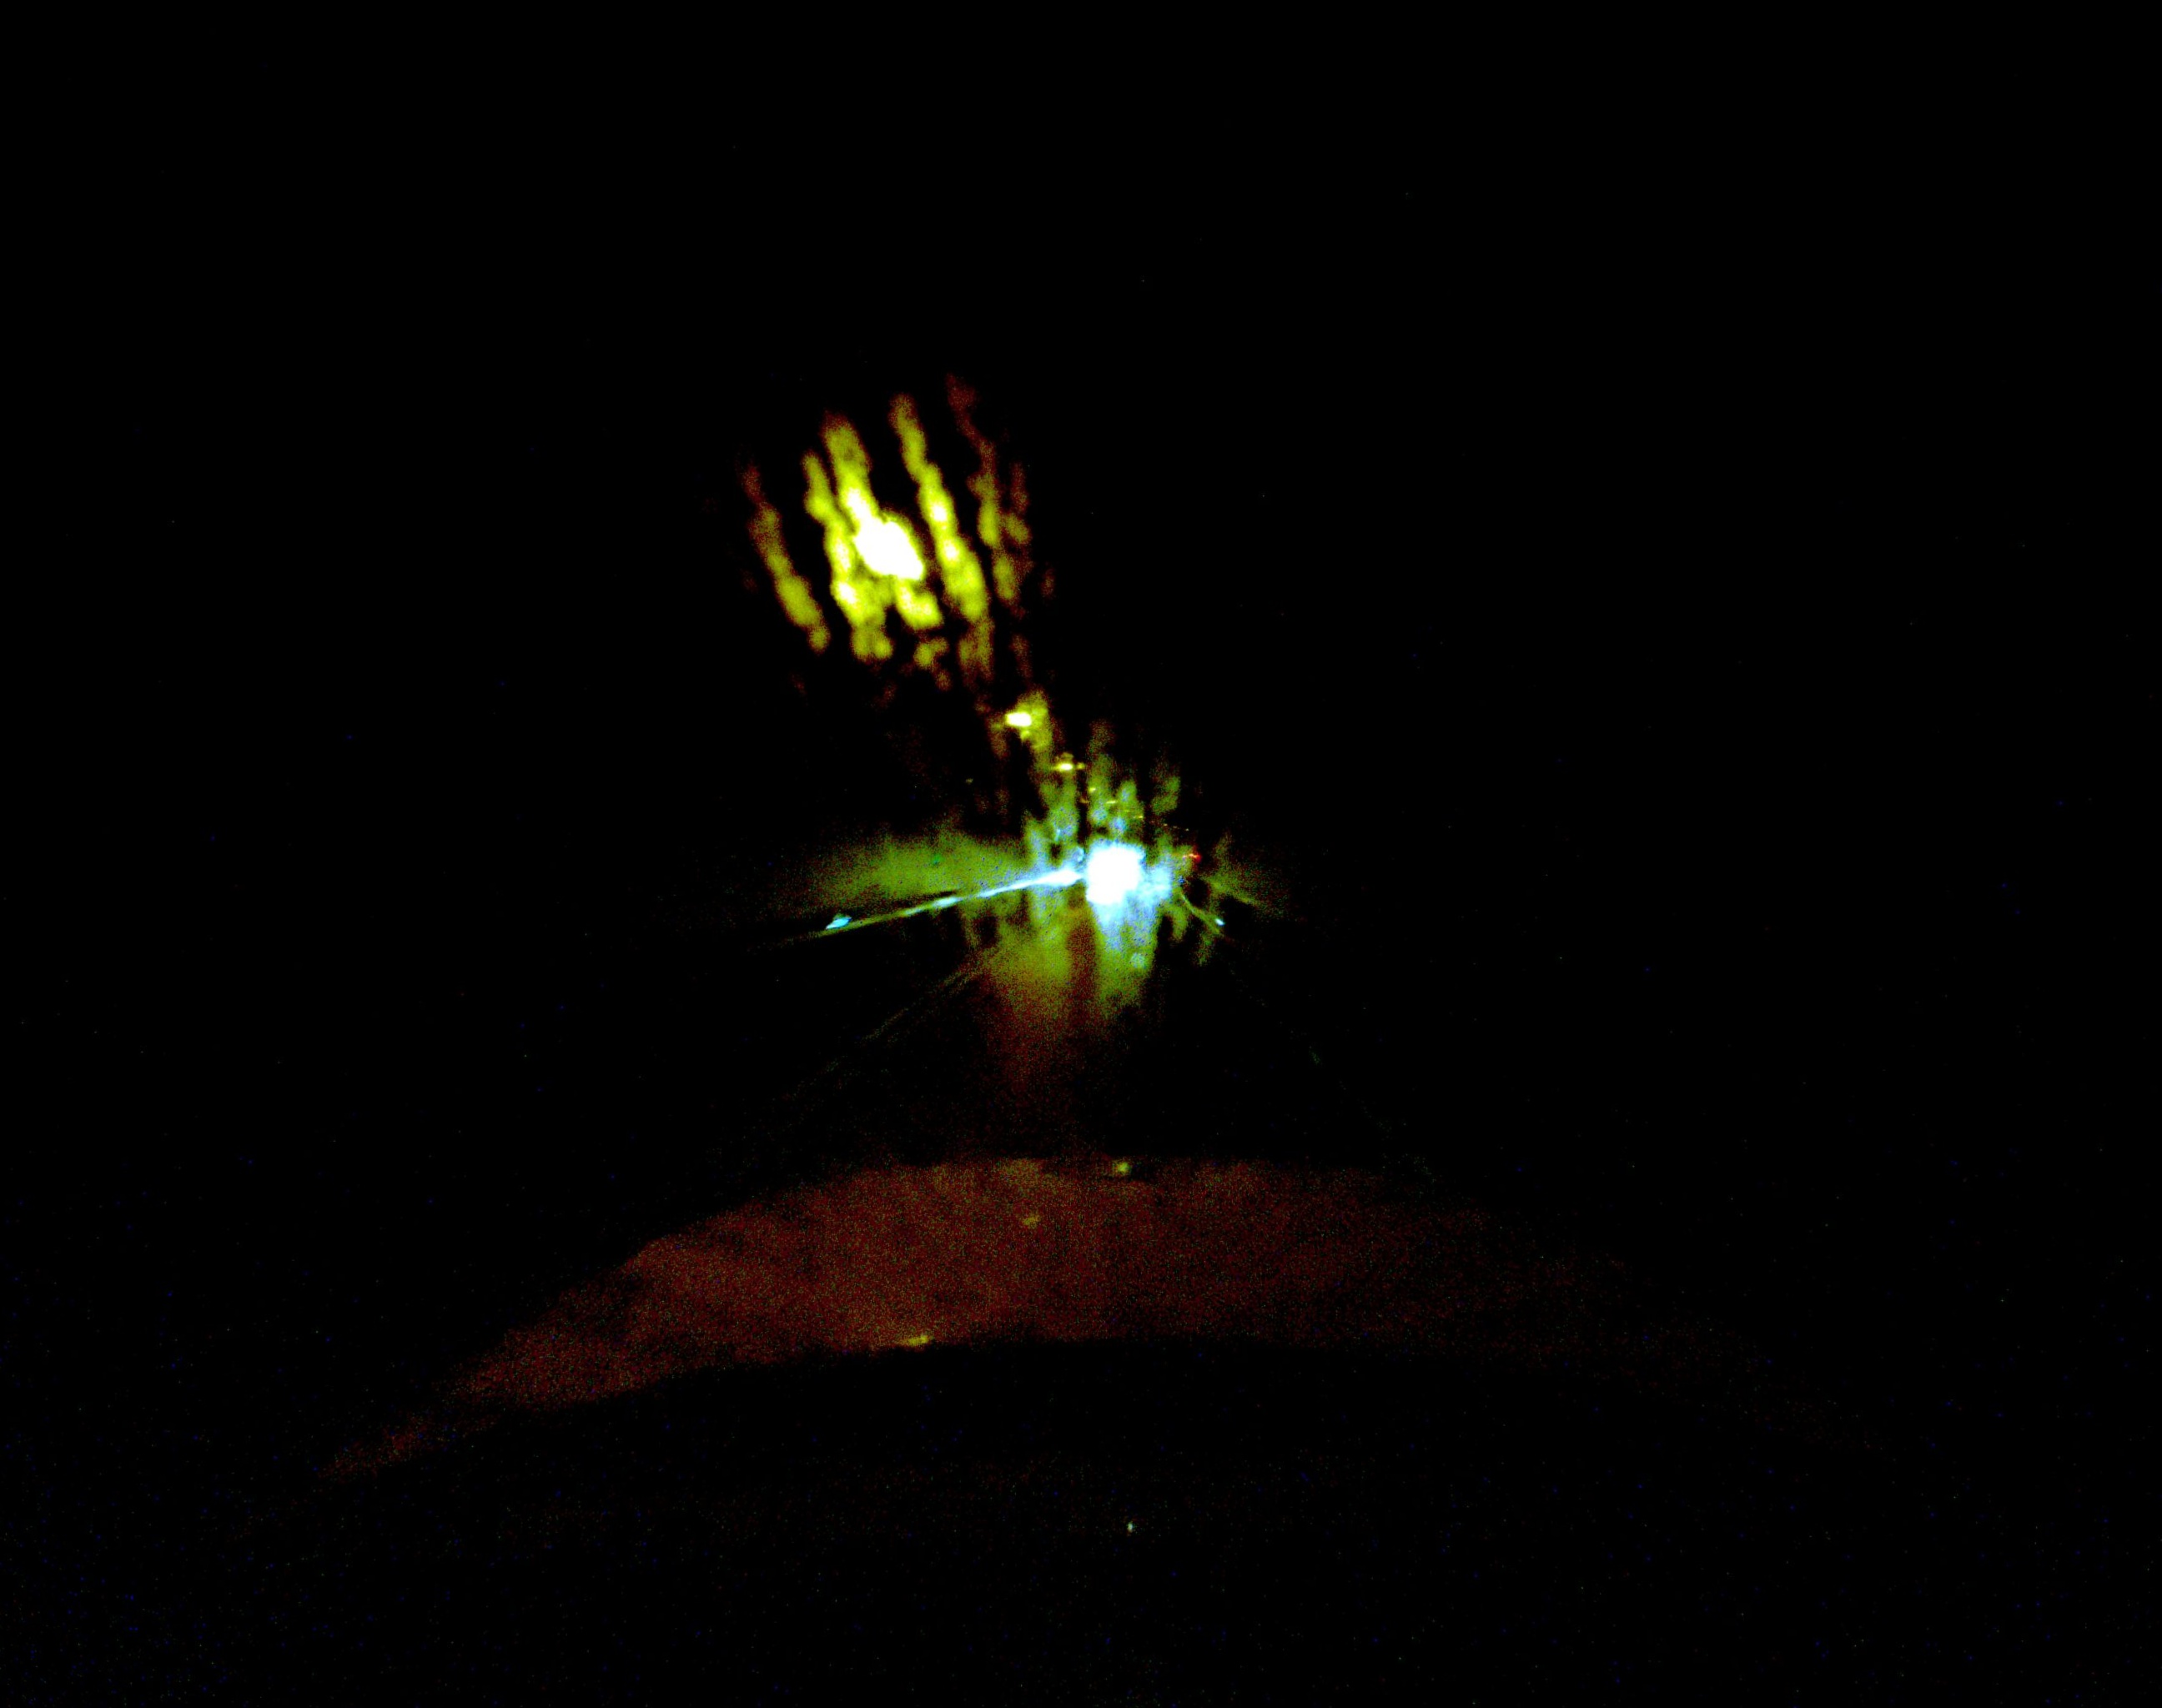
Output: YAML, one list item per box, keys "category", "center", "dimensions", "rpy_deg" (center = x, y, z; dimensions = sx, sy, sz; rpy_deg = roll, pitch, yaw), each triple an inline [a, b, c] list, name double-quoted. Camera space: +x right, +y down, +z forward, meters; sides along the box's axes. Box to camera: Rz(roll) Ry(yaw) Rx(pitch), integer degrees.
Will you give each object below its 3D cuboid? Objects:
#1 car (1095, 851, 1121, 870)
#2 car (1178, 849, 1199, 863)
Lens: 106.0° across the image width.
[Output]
- category: "car"
  center: [2.201, 0.505, 64.488]
  dimensions: [1.704, 1.378, 4.593]
  rpy_deg: [-1, 0, 6]
- category: "car"
  center: [13.674, 0.183, 103.407]
  dimensions: [1.978, 1.650, 4.018]
  rpy_deg: [-2, 0, 17]
